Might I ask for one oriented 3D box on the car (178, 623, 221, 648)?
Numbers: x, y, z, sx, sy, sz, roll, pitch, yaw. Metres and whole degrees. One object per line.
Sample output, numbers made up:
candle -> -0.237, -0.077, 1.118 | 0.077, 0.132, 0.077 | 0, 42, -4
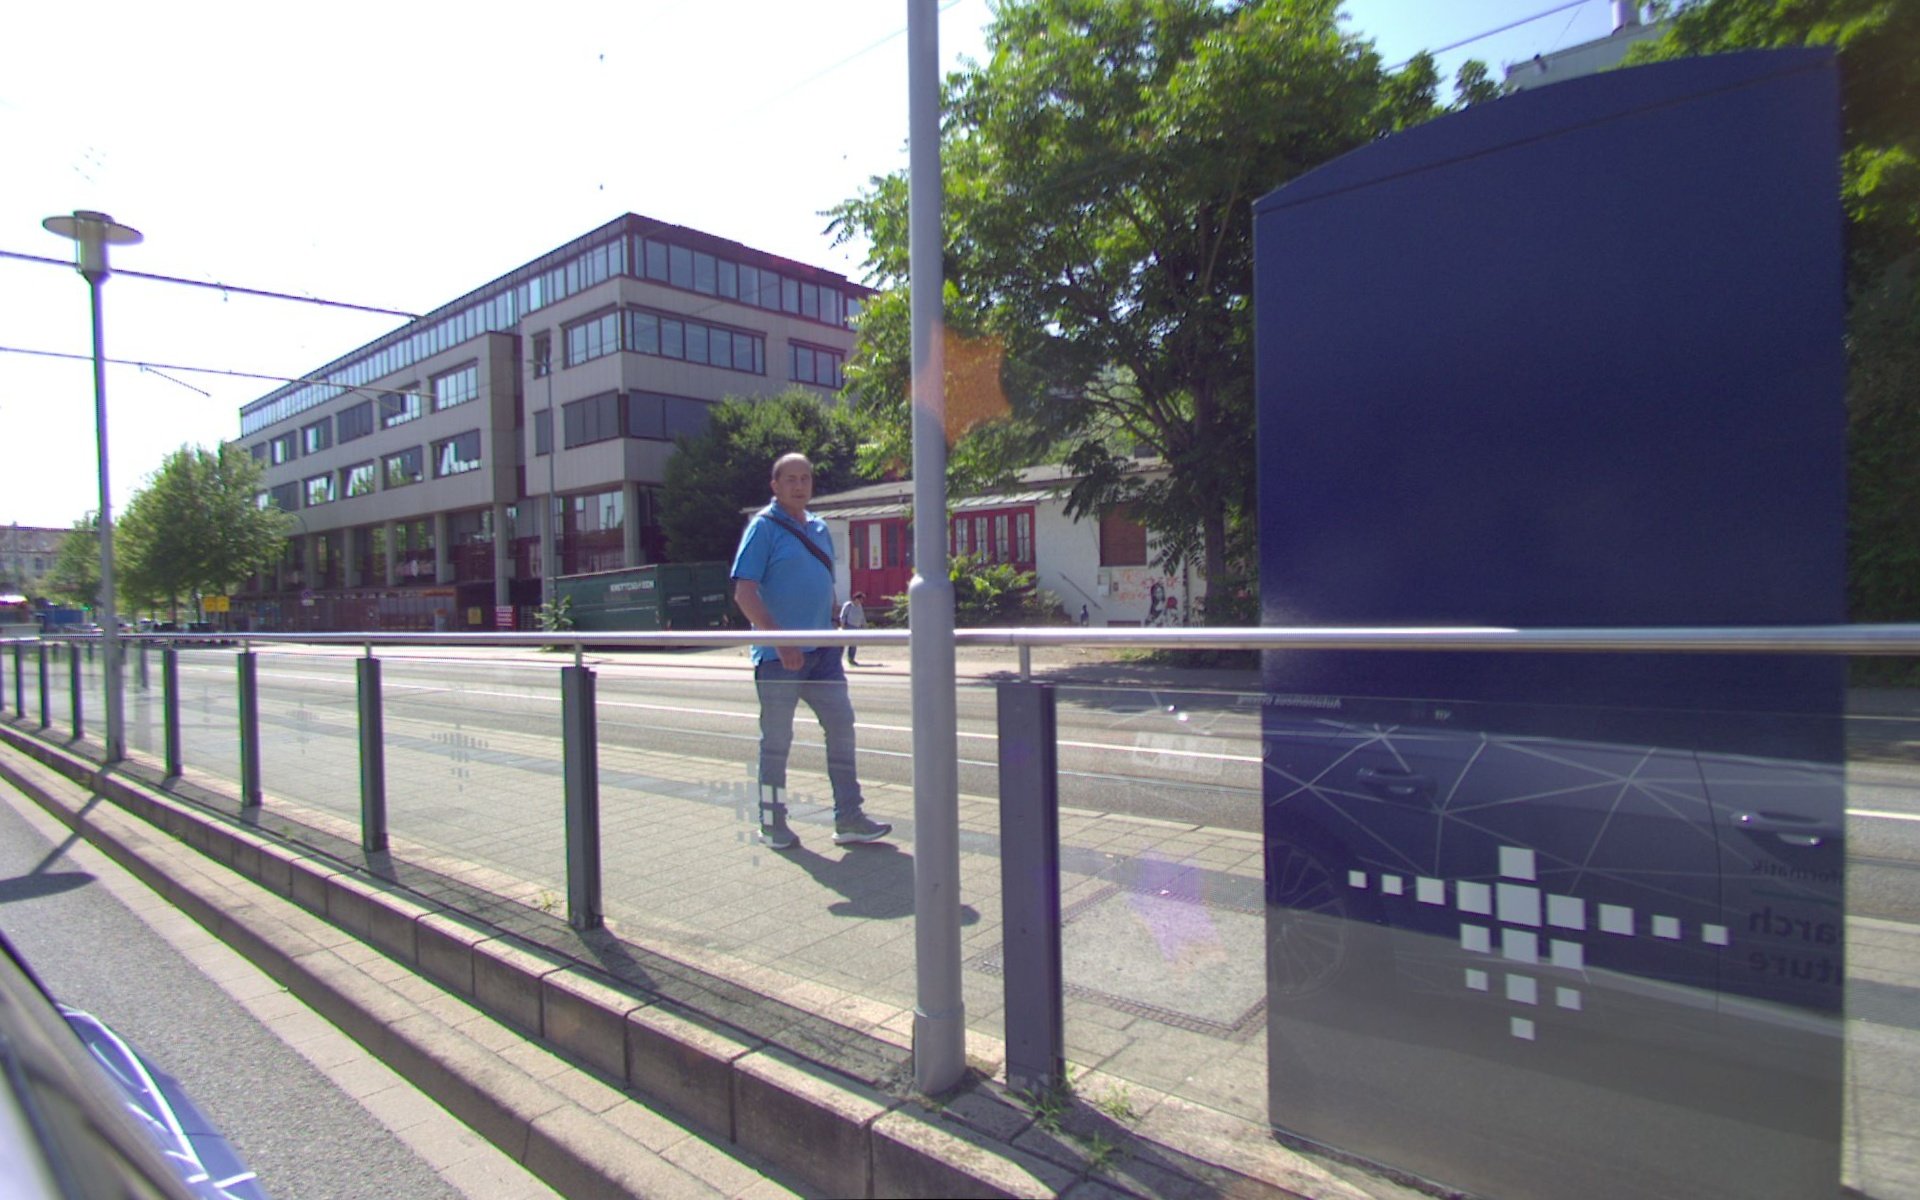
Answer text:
car -> -51.956, 2.403, 69.099 | 1.969, 1.635, 4.005 | 0, -1, -42

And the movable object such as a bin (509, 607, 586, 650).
movable object such as a bin -> -20.393, 1.394, 50.026 | 3.157, 2.029, 1.734 | -2, 0, 21

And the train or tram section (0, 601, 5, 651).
train or tram section -> -73.345, 2.041, 74.751 | 13.381, 3.511, 2.646 | -2, 0, 41

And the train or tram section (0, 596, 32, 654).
train or tram section -> -63.668, 1.722, 66.358 | 12.319, 3.511, 2.646 | -2, 0, 41

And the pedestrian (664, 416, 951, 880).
pedestrian -> -0.663, 0.183, 4.373 | 0.944, 1.737, 0.716 | -3, 0, 41

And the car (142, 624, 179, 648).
car -> -58.081, 2.624, 73.486 | 1.844, 1.630, 4.005 | 0, -1, -42

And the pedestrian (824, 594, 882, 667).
pedestrian -> -2.318, 0.653, 21.892 | 0.845, 1.538, 0.862 | -2, 0, 40
